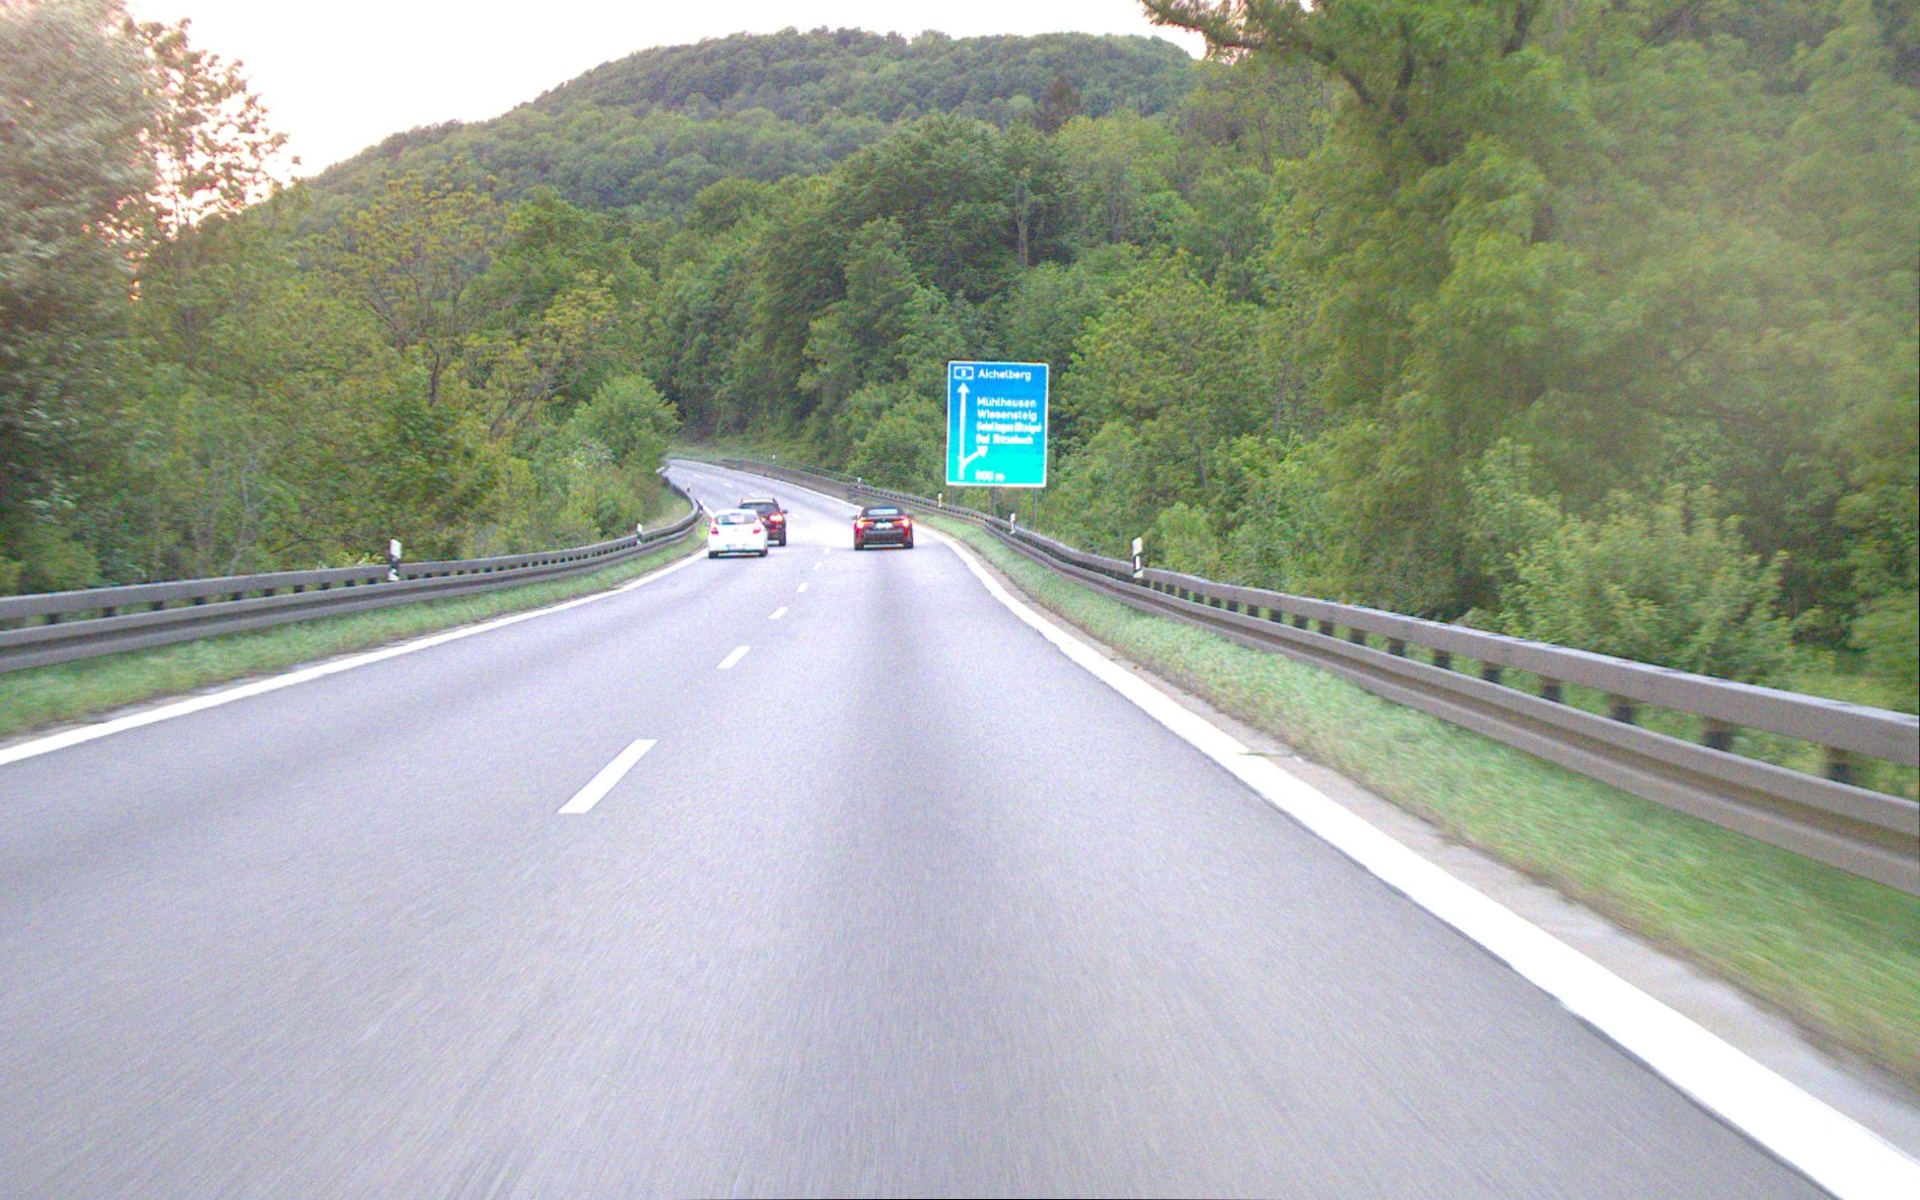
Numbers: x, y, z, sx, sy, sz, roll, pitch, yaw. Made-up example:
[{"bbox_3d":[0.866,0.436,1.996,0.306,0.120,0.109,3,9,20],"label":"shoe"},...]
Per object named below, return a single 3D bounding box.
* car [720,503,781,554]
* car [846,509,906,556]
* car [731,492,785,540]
[{"bbox_3d":[-6.415,-2.212,105.670,1.718,1.496,4.001,0,2,-1],"label":"car"},{"bbox_3d":[-2.714,-2.192,110.999,1.878,1.461,4.001,0,2,-1],"label":"car"},{"bbox_3d":[-6.963,-2.925,118.730,1.718,1.629,4.001,0,2,-1],"label":"car"}]
